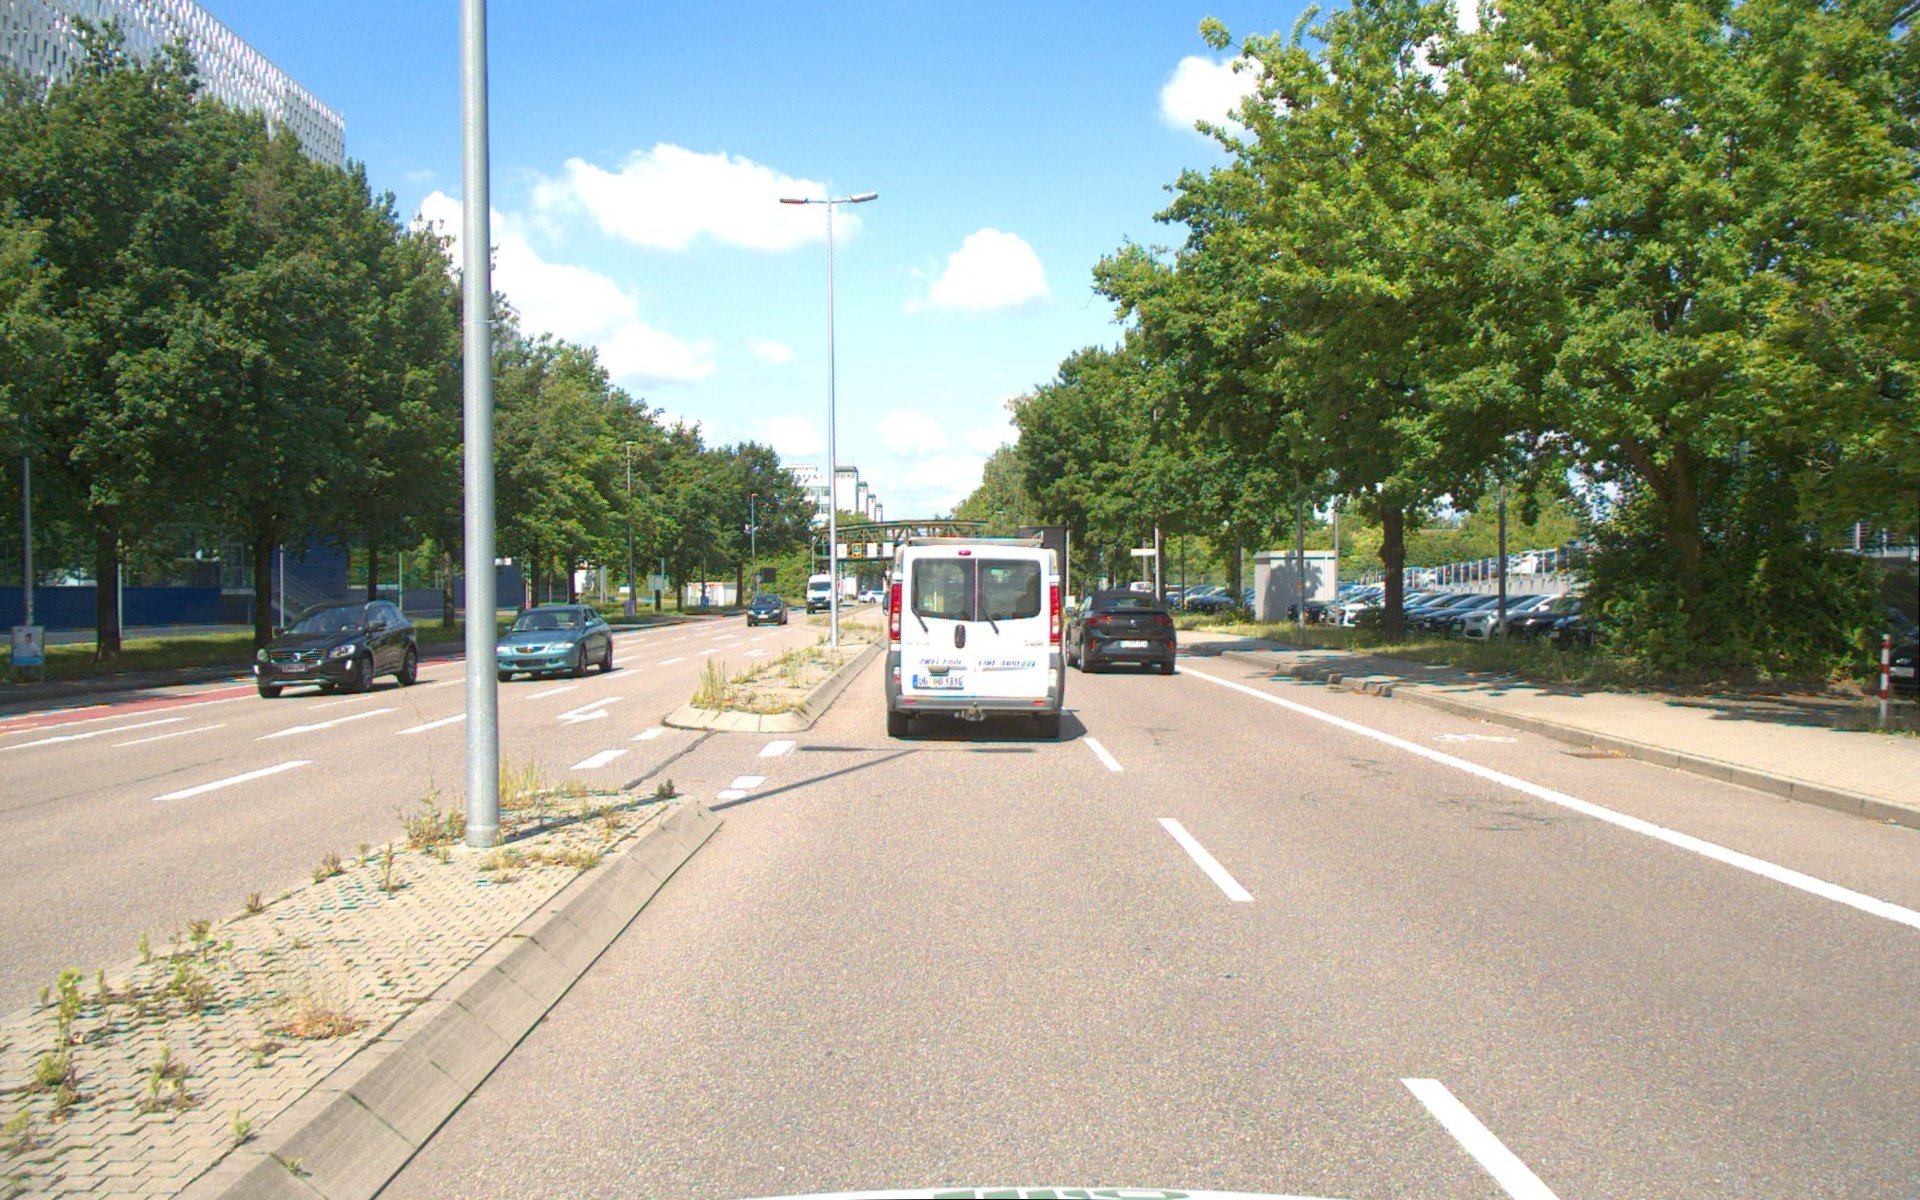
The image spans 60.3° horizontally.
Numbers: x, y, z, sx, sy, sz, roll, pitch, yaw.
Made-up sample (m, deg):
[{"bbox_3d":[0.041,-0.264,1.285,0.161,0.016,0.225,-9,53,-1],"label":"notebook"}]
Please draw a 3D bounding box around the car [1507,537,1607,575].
[{"bbox_3d":[29.520,-2.203,81.848,4.264,1.805,1.937,1,2,2],"label":"car"}]

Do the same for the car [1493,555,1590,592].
[{"bbox_3d":[29.584,-1.352,84.271,4.264,1.805,1.937,1,2,2],"label":"car"}]

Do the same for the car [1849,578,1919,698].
[{"bbox_3d":[13.955,0.525,20.814,4.482,1.429,1.907,2,2,-1],"label":"car"}]

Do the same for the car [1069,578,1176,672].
[{"bbox_3d":[3.069,0.421,31.863,1.737,1.657,4.001,0,1,1],"label":"car"}]

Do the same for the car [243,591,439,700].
[{"bbox_3d":[-11.433,0.766,30.930,1.889,1.786,4.819,-3,0,-2],"label":"car"}]

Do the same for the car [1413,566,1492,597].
[{"bbox_3d":[29.909,-1.144,100.503,4.264,1.805,1.937,1,2,2],"label":"car"}]

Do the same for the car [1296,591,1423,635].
[{"bbox_3d":[13.993,0.459,58.107,4.023,1.470,1.855,1,1,-1],"label":"car"}]

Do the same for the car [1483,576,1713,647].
[{"bbox_3d":[14.355,0.243,37.376,4.482,1.525,1.907,0,0,-1],"label":"car"}]

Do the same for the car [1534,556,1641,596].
[{"bbox_3d":[29.153,-1.126,76.933,4.264,1.805,1.937,1,2,2],"label":"car"}]

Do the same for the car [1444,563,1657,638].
[{"bbox_3d":[14.263,-0.011,40.124,4.482,1.707,1.907,0,2,-1],"label":"car"}]

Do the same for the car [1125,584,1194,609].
[{"bbox_3d":[13.232,-0.248,109.726,4.267,1.539,1.935,0,2,-3],"label":"car"}]

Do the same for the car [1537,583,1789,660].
[{"bbox_3d":[14.666,0.440,34.653,4.482,1.525,1.907,0,0,-1],"label":"car"}]

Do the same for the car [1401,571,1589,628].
[{"bbox_3d":[14.494,-0.027,45.002,4.482,1.429,1.907,0,2,-1],"label":"car"}]

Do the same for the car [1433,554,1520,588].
[{"bbox_3d":[28.852,-1.611,92.429,4.264,1.805,1.937,1,2,2],"label":"car"}]

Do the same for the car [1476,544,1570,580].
[{"bbox_3d":[29.558,-1.993,86.891,4.264,1.805,1.937,1,2,2],"label":"car"}]

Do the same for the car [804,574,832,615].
[{"bbox_3d":[-10.398,-0.418,121.232,1.983,2.944,6.375,-1,0,-5],"label":"car"}]

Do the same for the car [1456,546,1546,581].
[{"bbox_3d":[29.411,-2.007,90.025,4.264,1.805,1.937,1,2,2],"label":"car"}]

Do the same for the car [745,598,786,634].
[{"bbox_3d":[-9.724,0.769,82.926,1.704,1.638,4.239,-4,1,-3],"label":"car"}]

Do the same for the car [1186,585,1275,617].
[{"bbox_3d":[13.998,0.050,85.671,4.267,1.539,1.935,0,2,-3],"label":"car"}]

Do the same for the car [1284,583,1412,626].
[{"bbox_3d":[14.246,0.157,60.843,4.266,1.539,1.855,-1,0,-1],"label":"car"}]

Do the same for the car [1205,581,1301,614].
[{"bbox_3d":[14.164,-0.133,80.204,4.267,1.539,1.935,0,2,-3],"label":"car"}]

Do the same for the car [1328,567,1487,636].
[{"bbox_3d":[14.161,0.017,52.501,4.482,2.084,1.907,0,2,-1],"label":"car"}]

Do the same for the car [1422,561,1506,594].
[{"bbox_3d":[28.988,-1.297,95.160,4.264,1.805,1.937,1,2,2],"label":"car"}]

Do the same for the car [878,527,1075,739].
[{"bbox_3d":[0.192,0.270,18.597,1.932,2.095,4.565,0,1,1],"label":"car"}]

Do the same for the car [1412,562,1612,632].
[{"bbox_3d":[14.146,-0.100,42.537,4.482,1.707,1.907,0,2,-1],"label":"car"}]

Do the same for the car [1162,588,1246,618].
[{"bbox_3d":[13.374,0.139,90.667,4.267,1.539,1.935,0,2,-3],"label":"car"}]

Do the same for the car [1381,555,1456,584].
[{"bbox_3d":[29.270,-1.966,105.580,4.264,1.805,1.937,1,2,2],"label":"car"}]

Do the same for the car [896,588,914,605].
[{"bbox_3d":[-6.352,-0.377,192.208,1.952,1.802,4.001,1,2,0],"label":"car"}]

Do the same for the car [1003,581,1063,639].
[{"bbox_3d":[2.200,0.263,50.687,1.737,1.657,4.001,0,1,1],"label":"car"}]

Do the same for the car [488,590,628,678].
[{"bbox_3d":[-8.053,0.623,33.550,1.737,1.575,4.819,-3,0,-2],"label":"car"}]

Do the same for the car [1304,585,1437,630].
[{"bbox_3d":[13.717,0.242,55.414,4.023,1.428,1.817,0,0,-1],"label":"car"}]
